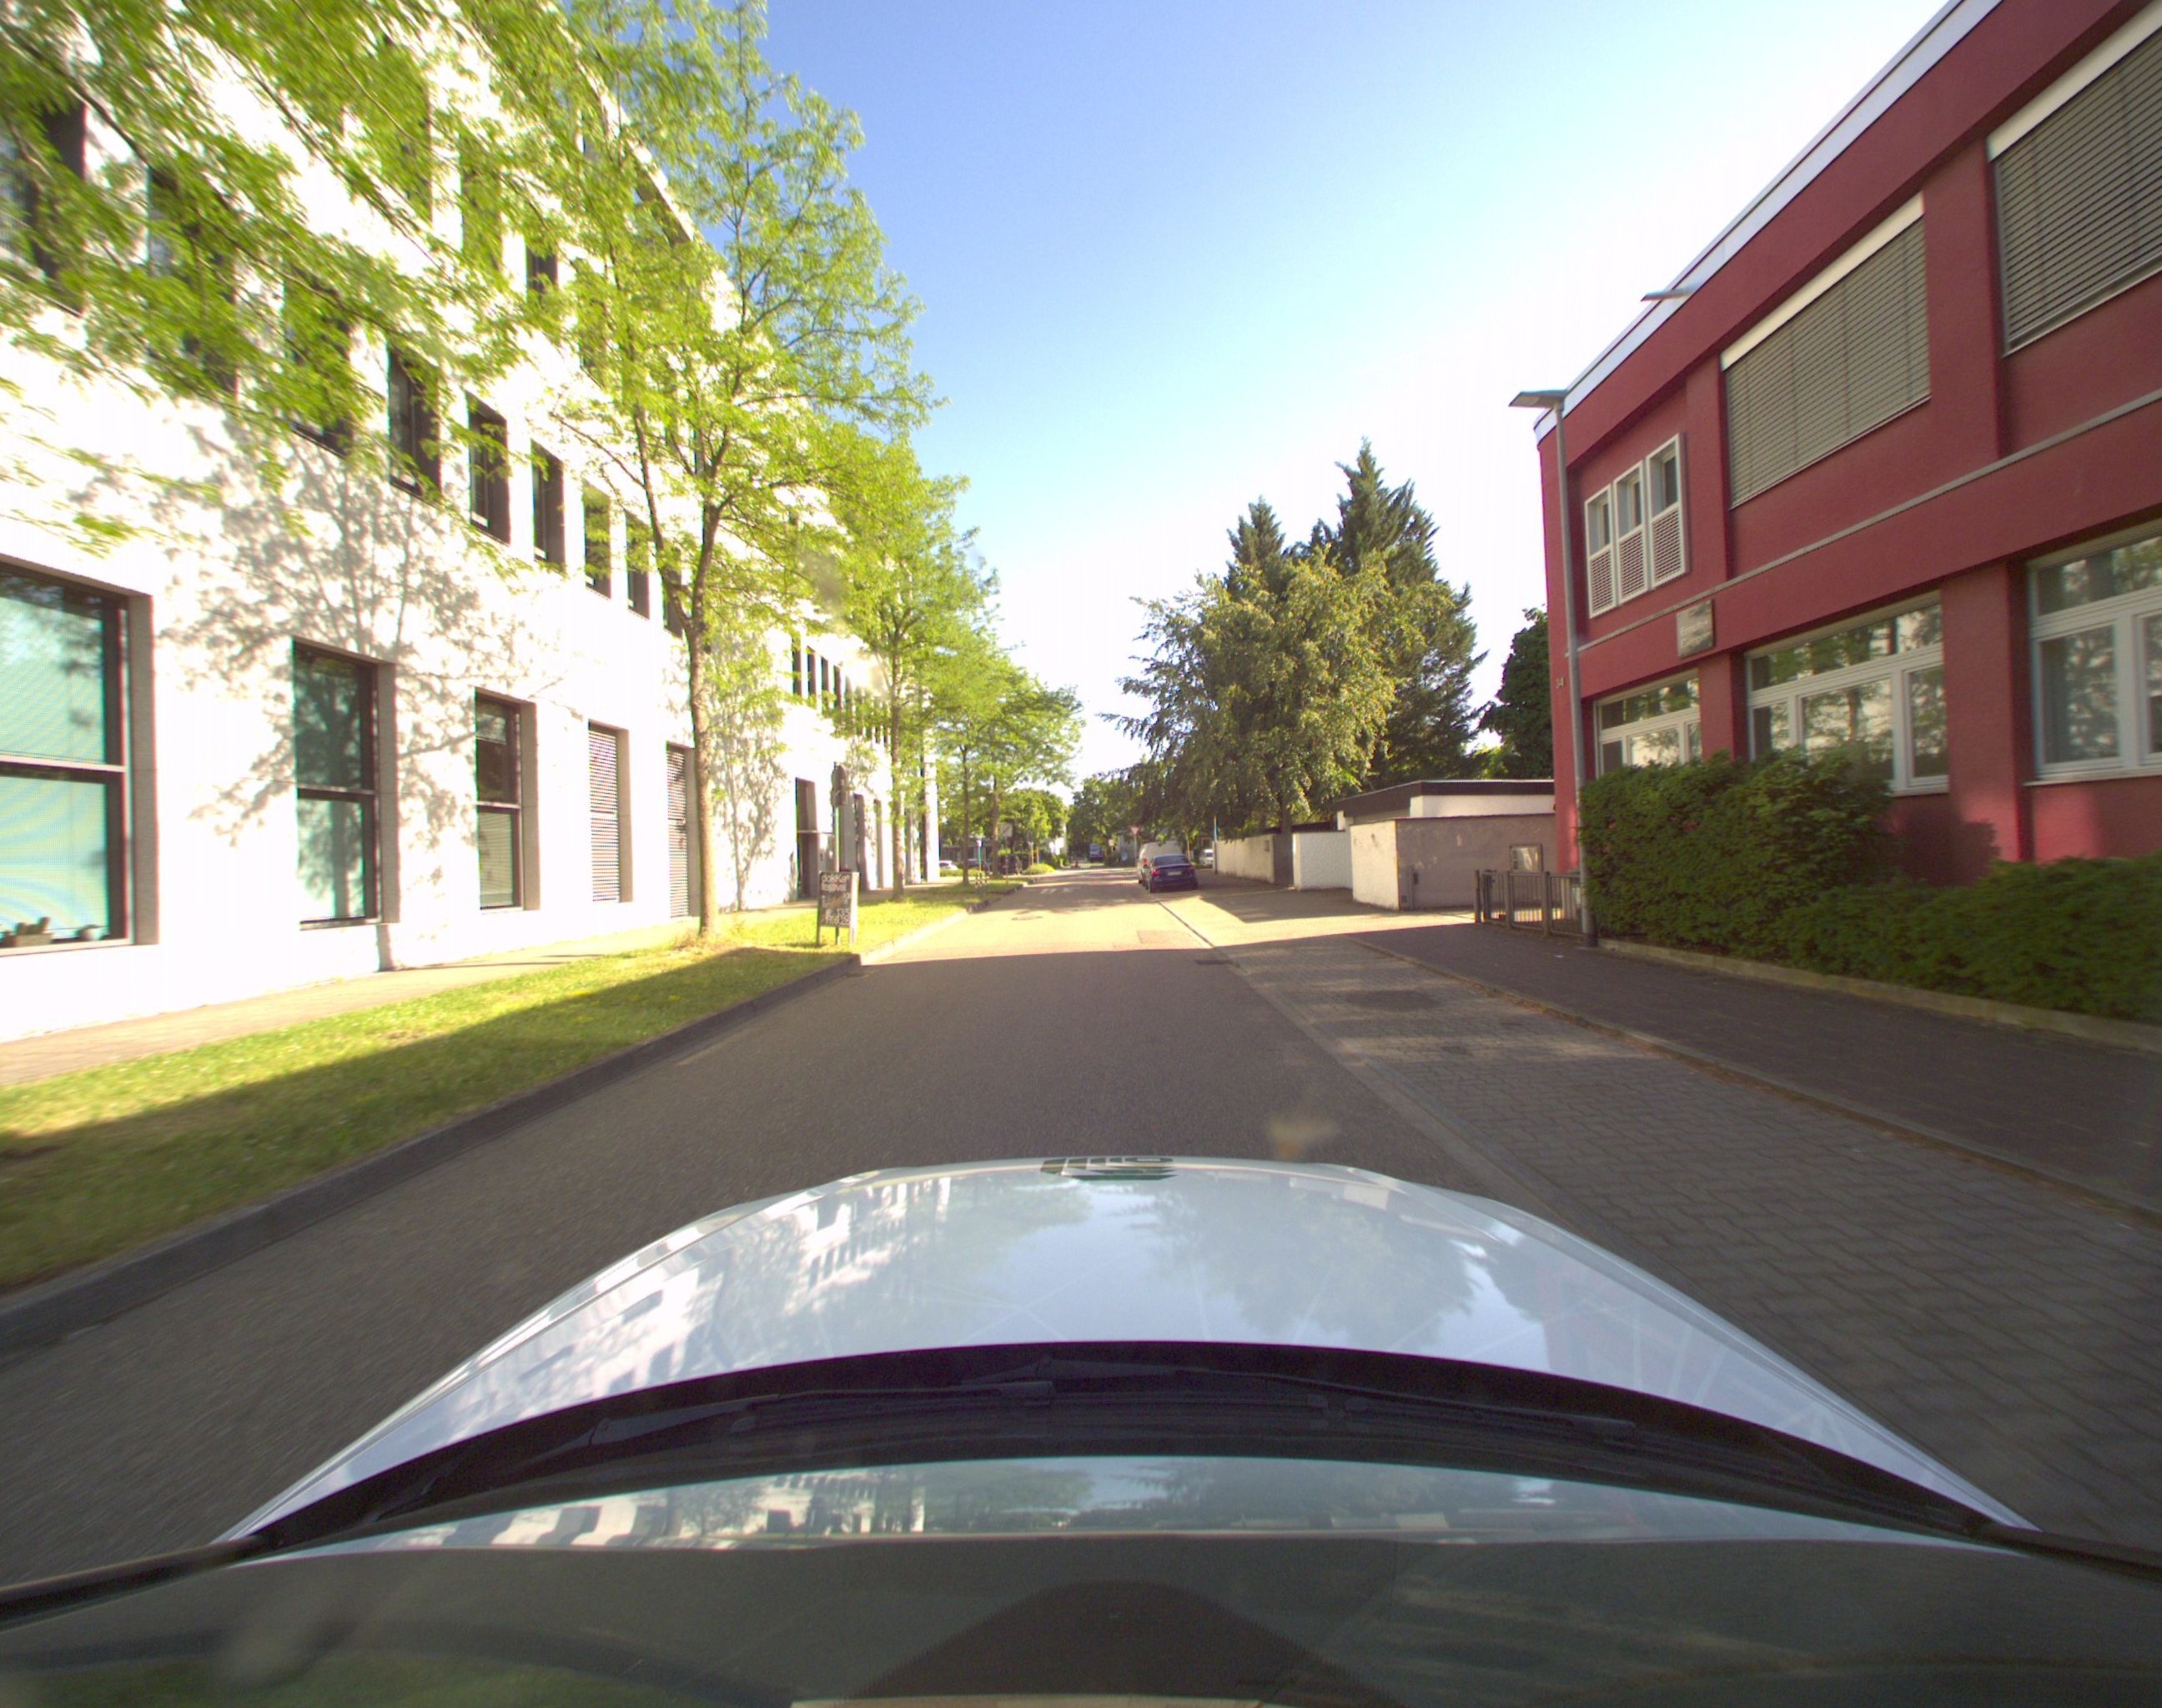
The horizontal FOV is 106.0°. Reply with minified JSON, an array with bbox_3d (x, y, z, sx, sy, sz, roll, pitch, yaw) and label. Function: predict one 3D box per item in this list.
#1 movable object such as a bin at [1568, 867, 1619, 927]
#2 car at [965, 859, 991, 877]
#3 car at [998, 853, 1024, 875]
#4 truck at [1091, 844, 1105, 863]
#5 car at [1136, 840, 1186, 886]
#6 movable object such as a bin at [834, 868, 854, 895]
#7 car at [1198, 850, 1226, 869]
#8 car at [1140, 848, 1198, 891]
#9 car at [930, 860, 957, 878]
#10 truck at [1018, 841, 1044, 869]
[{"bbox_3d":[7.848,0.650,12.487,0.475,0.901,0.475,-1,0,2],"label":"movable object such as a bin"},{"bbox_3d":[-9.315,1.232,73.804,1.818,1.406,4.167,-2,1,-1],"label":"car"},{"bbox_3d":[-6.333,0.881,73.937,1.867,1.846,4.169,-2,1,1],"label":"car"},{"bbox_3d":[3.464,-0.114,168.460,2.750,3.869,9.332,-1,0,2],"label":"truck"},{"bbox_3d":[3.628,0.412,37.832,1.891,1.914,5.150,-3,0,2],"label":"car"},{"bbox_3d":[-9.276,1.057,31.876,0.591,1.040,0.543,-1,0,-1],"label":"movable object such as a bin"},{"bbox_3d":[11.805,0.485,73.601,1.818,1.598,4.167,-2,1,-1],"label":"car"},{"bbox_3d":[3.348,0.570,31.582,1.819,1.423,4.285,-5,0,2],"label":"car"},{"bbox_3d":[-12.462,1.322,73.967,1.797,1.436,3.911,-1,1,-1],"label":"car"},{"bbox_3d":[-7.028,0.085,115.073,2.791,3.806,6.929,-1,0,3],"label":"truck"}]
